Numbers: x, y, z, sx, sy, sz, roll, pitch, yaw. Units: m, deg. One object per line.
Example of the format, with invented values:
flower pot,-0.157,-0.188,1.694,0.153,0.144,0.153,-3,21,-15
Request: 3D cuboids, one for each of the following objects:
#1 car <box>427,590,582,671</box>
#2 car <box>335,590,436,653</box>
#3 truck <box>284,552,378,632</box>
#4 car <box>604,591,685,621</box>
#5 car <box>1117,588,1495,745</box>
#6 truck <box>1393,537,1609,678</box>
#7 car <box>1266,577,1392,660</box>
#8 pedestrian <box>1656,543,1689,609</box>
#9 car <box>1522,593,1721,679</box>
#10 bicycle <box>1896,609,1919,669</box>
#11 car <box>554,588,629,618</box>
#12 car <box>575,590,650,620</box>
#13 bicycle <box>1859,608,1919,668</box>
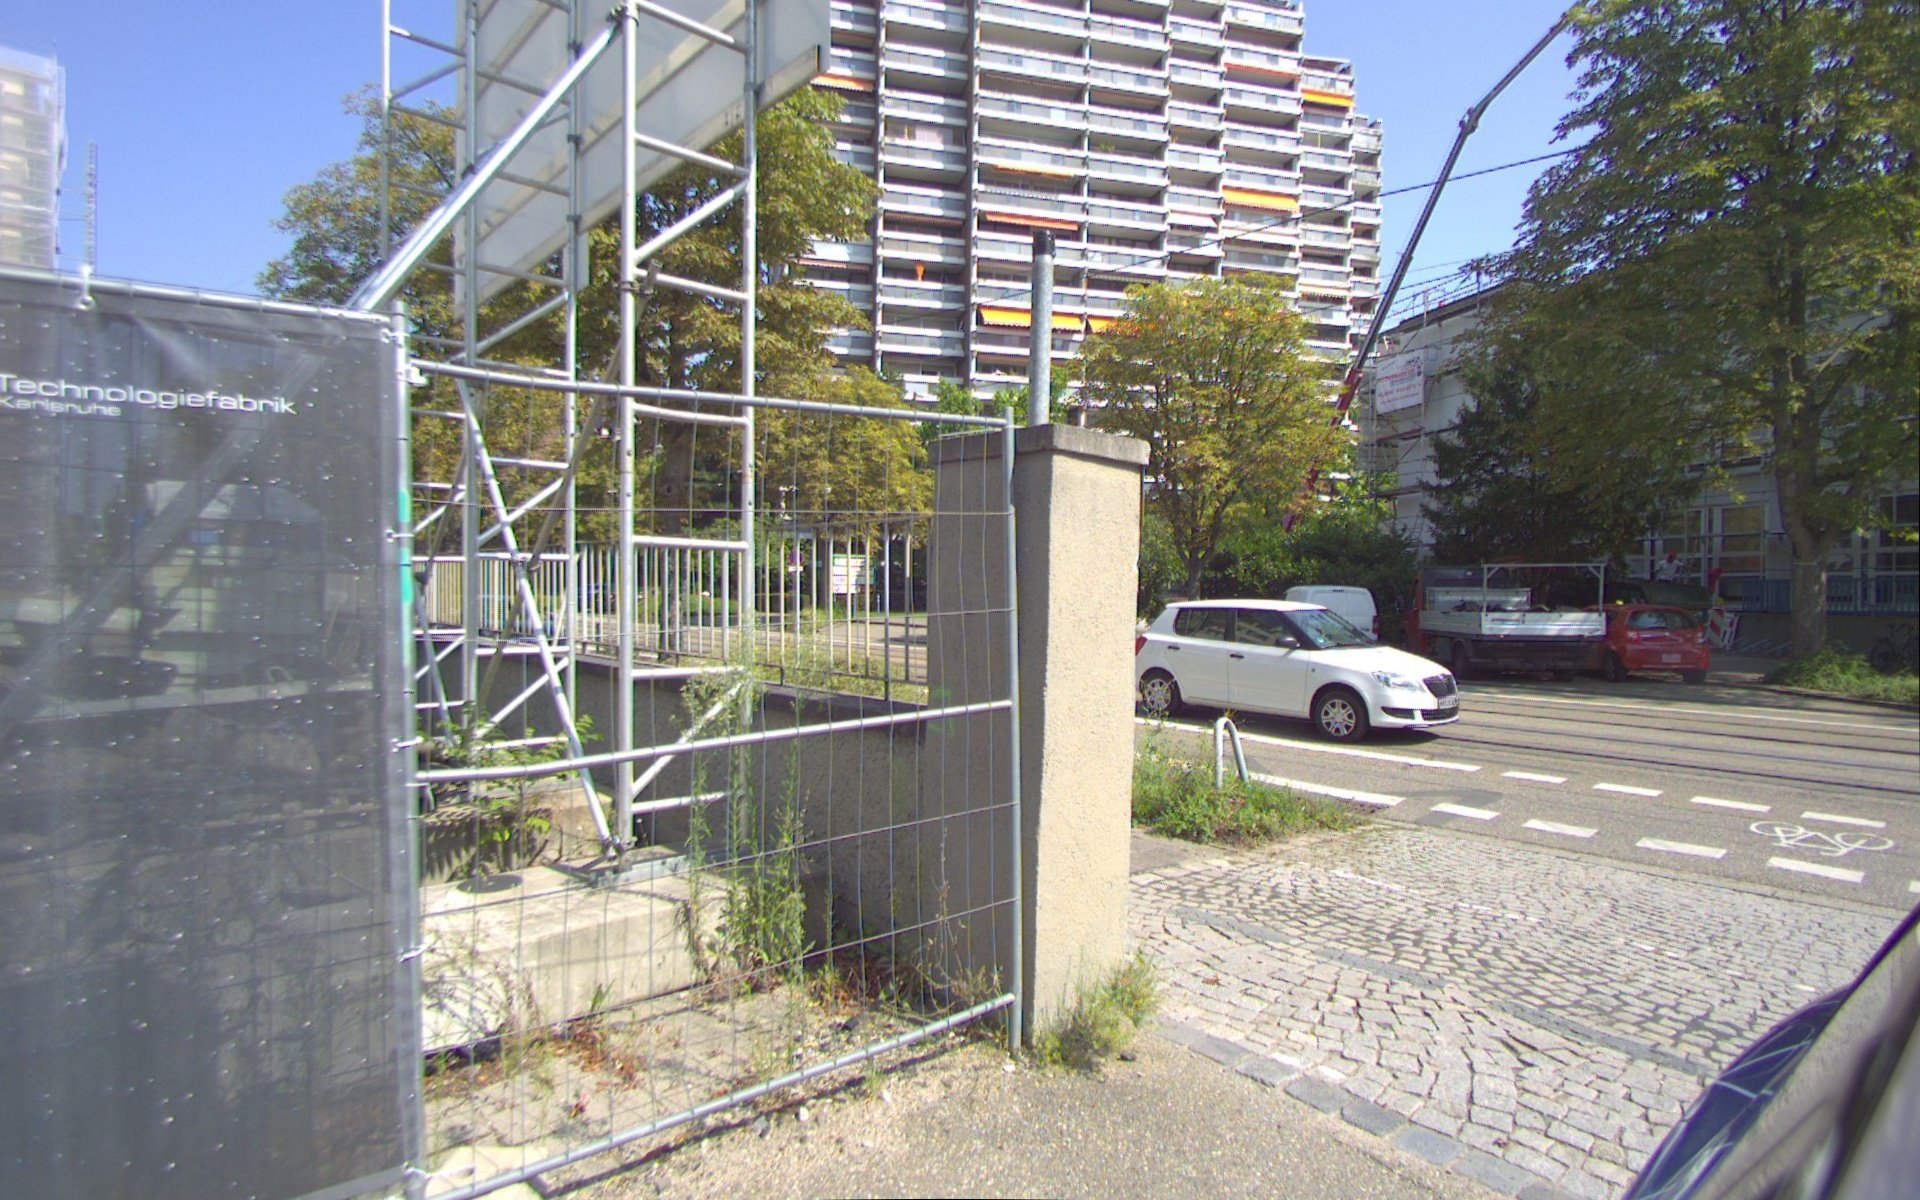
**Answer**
car,-9.538,0.562,20.989,1.650,1.476,4.656,2,-1,-41
car,-16.416,0.588,28.829,1.650,1.600,4.165,3,-1,-41
truck,-22.514,-0.314,36.124,1.890,2.631,5.581,0,1,-42
car,-16.568,0.284,53.370,1.760,1.516,4.264,0,0,22
car,4.040,0.643,12.315,1.794,1.510,4.013,-2,2,-41
truck,10.866,0.115,20.954,2.116,2.465,5.952,1,0,9
car,8.720,0.404,24.323,1.793,1.794,4.279,1,0,5
pedestrian,19.963,-0.667,28.338,0.736,1.810,0.819,0,-1,36
car,13.100,0.642,20.345,1.690,1.527,3.855,1,0,5
bicycle,20.447,0.784,20.963,2.297,1.174,0.603,-1,1,-21
car,-21.050,0.131,57.947,1.823,1.669,3.965,0,0,25
car,-18.992,0.250,55.512,1.759,1.590,3.971,0,0,22
bicycle,20.215,0.784,21.558,2.297,1.174,0.603,-1,1,-21
